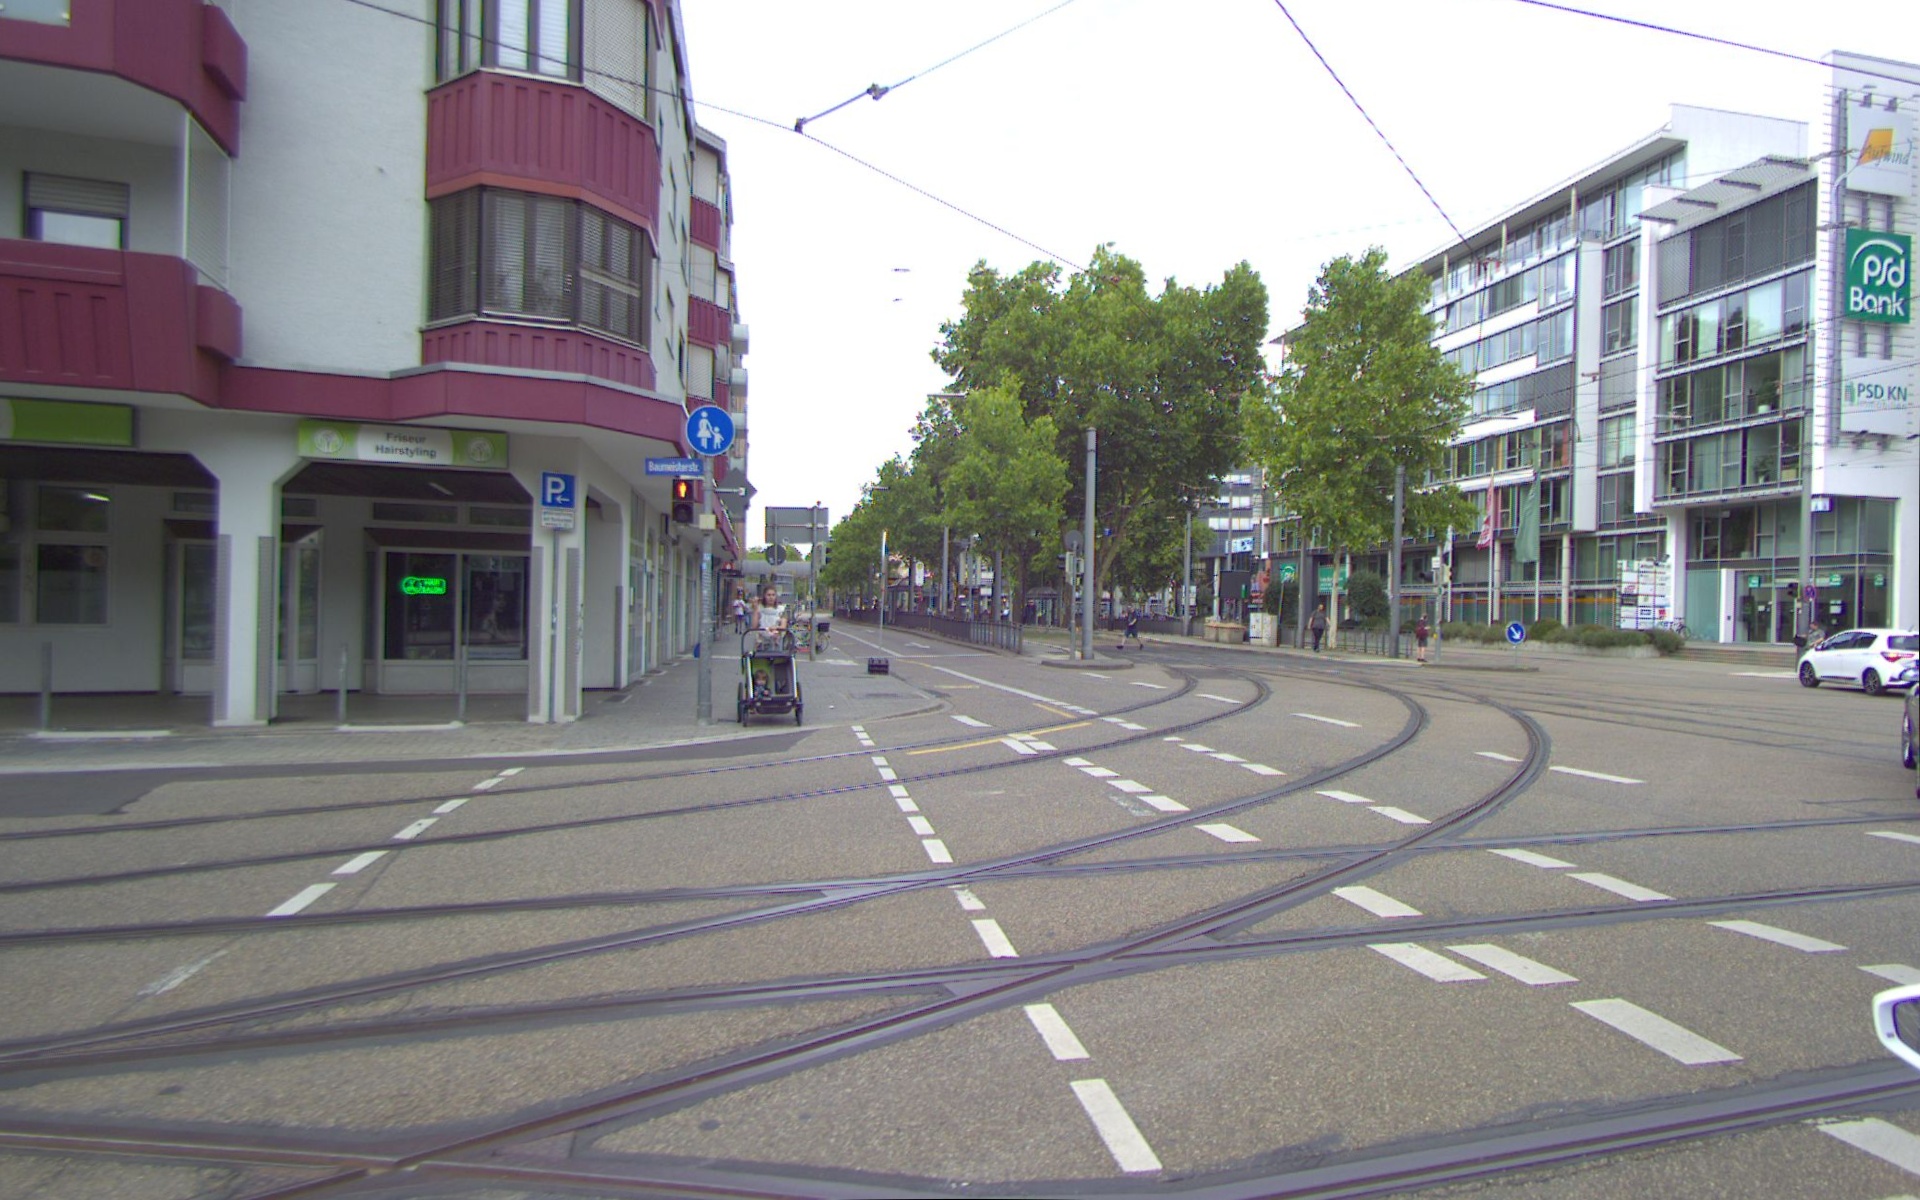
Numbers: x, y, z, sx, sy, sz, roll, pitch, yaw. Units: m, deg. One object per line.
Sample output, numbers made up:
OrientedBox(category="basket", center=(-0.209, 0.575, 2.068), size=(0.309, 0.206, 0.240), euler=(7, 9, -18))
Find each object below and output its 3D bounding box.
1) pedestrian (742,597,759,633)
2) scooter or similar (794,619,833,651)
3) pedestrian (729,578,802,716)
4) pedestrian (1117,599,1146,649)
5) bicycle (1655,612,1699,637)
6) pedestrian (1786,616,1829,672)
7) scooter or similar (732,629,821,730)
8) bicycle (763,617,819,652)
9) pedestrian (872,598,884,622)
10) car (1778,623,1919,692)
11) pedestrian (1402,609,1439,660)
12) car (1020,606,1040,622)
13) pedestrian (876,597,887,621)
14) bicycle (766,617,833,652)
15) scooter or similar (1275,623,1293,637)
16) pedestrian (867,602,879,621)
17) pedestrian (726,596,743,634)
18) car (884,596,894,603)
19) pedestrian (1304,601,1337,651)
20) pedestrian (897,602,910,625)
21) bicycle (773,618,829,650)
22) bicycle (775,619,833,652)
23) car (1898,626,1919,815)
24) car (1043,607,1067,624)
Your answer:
OrientedBox(category="pedestrian", center=(-10.173, 0.723, 48.719), size=(0.747, 1.758, 0.894), euler=(1, 0, -14))
OrientedBox(category="scooter or similar", center=(-4.766, 1.142, 32.637), size=(1.163, 1.001, 0.347), euler=(5, -2, -34))
OrientedBox(category="pedestrian", center=(-2.614, 0.605, 13.422), size=(0.800, 1.767, 0.946), euler=(1, 0, -19))
OrientedBox(category="pedestrian", center=(6.747, 0.923, 39.544), size=(0.983, 1.924, 0.805), euler=(1, 0, -1))
OrientedBox(category="bicycle", center=(36.542, 1.260, 51.210), size=(2.079, 1.193, 0.584), euler=(2, 1, -15))
OrientedBox(category="pedestrian", center=(29.279, 1.514, 34.701), size=(0.751, 1.890, 0.836), euler=(1, 0, -4))
OrientedBox(category="scooter or similar", center=(-2.320, 0.965, 12.588), size=(0.932, 1.144, 1.194), euler=(1, 1, -18))
OrientedBox(category="bicycle", center=(-5.560, 1.123, 33.011), size=(1.704, 1.031, 0.477), euler=(4, -1, -18))
OrientedBox(category="pedestrian", center=(-6.676, 0.820, 81.685), size=(0.803, 1.912, 0.783), euler=(1, 0, -14))
OrientedBox(category="car", center=(21.560, 1.294, 23.748), size=(1.804, 1.458, 4.190), euler=(1, -1, 14))
OrientedBox(category="pedestrian", center=(15.363, 1.143, 33.534), size=(0.751, 1.693, 0.938), euler=(1, 0, -4))
OrientedBox(category="car", center=(9.154, 1.815, 131.523), size=(1.808, 1.928, 4.169), euler=(1, -1, -9))
OrientedBox(category="pedestrian", center=(-6.629, 0.792, 85.272), size=(0.803, 2.019, 0.783), euler=(1, 0, -13))
OrientedBox(category="bicycle", center=(-5.381, 1.163, 33.665), size=(2.143, 1.031, 0.626), euler=(4, -1, -10))
OrientedBox(category="scooter or similar", center=(23.302, 2.179, 72.302), size=(0.578, 0.963, 1.858), euler=(1, -1, -5))
OrientedBox(category="pedestrian", center=(-7.814, 1.046, 90.273), size=(0.980, 1.622, 0.849), euler=(1, 0, -13))
OrientedBox(category="pedestrian", center=(-10.873, 0.705, 48.444), size=(0.747, 1.799, 0.894), euler=(1, 0, -14))
OrientedBox(category="car", center=(-15.708, -0.026, 223.027), size=(1.808, 1.541, 4.169), euler=(1, -1, -9))
OrientedBox(category="pedestrian", center=(13.648, 0.976, 38.056), size=(0.827, 1.880, 0.842), euler=(1, 0, -18))
OrientedBox(category="pedestrian", center=(-3.889, 0.934, 69.094), size=(0.803, 1.557, 0.783), euler=(1, 0, -14))
OrientedBox(category="bicycle", center=(-5.675, 1.215, 35.821), size=(1.855, 1.031, 0.707), euler=(4, -1, -18))
OrientedBox(category="bicycle", center=(-5.455, 1.232, 35.149), size=(1.855, 1.031, 0.625), euler=(4, -1, -18))
OrientedBox(category="car", center=(9.582, 0.982, 8.822), size=(1.855, 1.423, 4.259), euler=(0, 0, 42))
OrientedBox(category="car", center=(11.323, 1.866, 119.913), size=(1.862, 1.928, 4.123), euler=(1, -1, -9))
